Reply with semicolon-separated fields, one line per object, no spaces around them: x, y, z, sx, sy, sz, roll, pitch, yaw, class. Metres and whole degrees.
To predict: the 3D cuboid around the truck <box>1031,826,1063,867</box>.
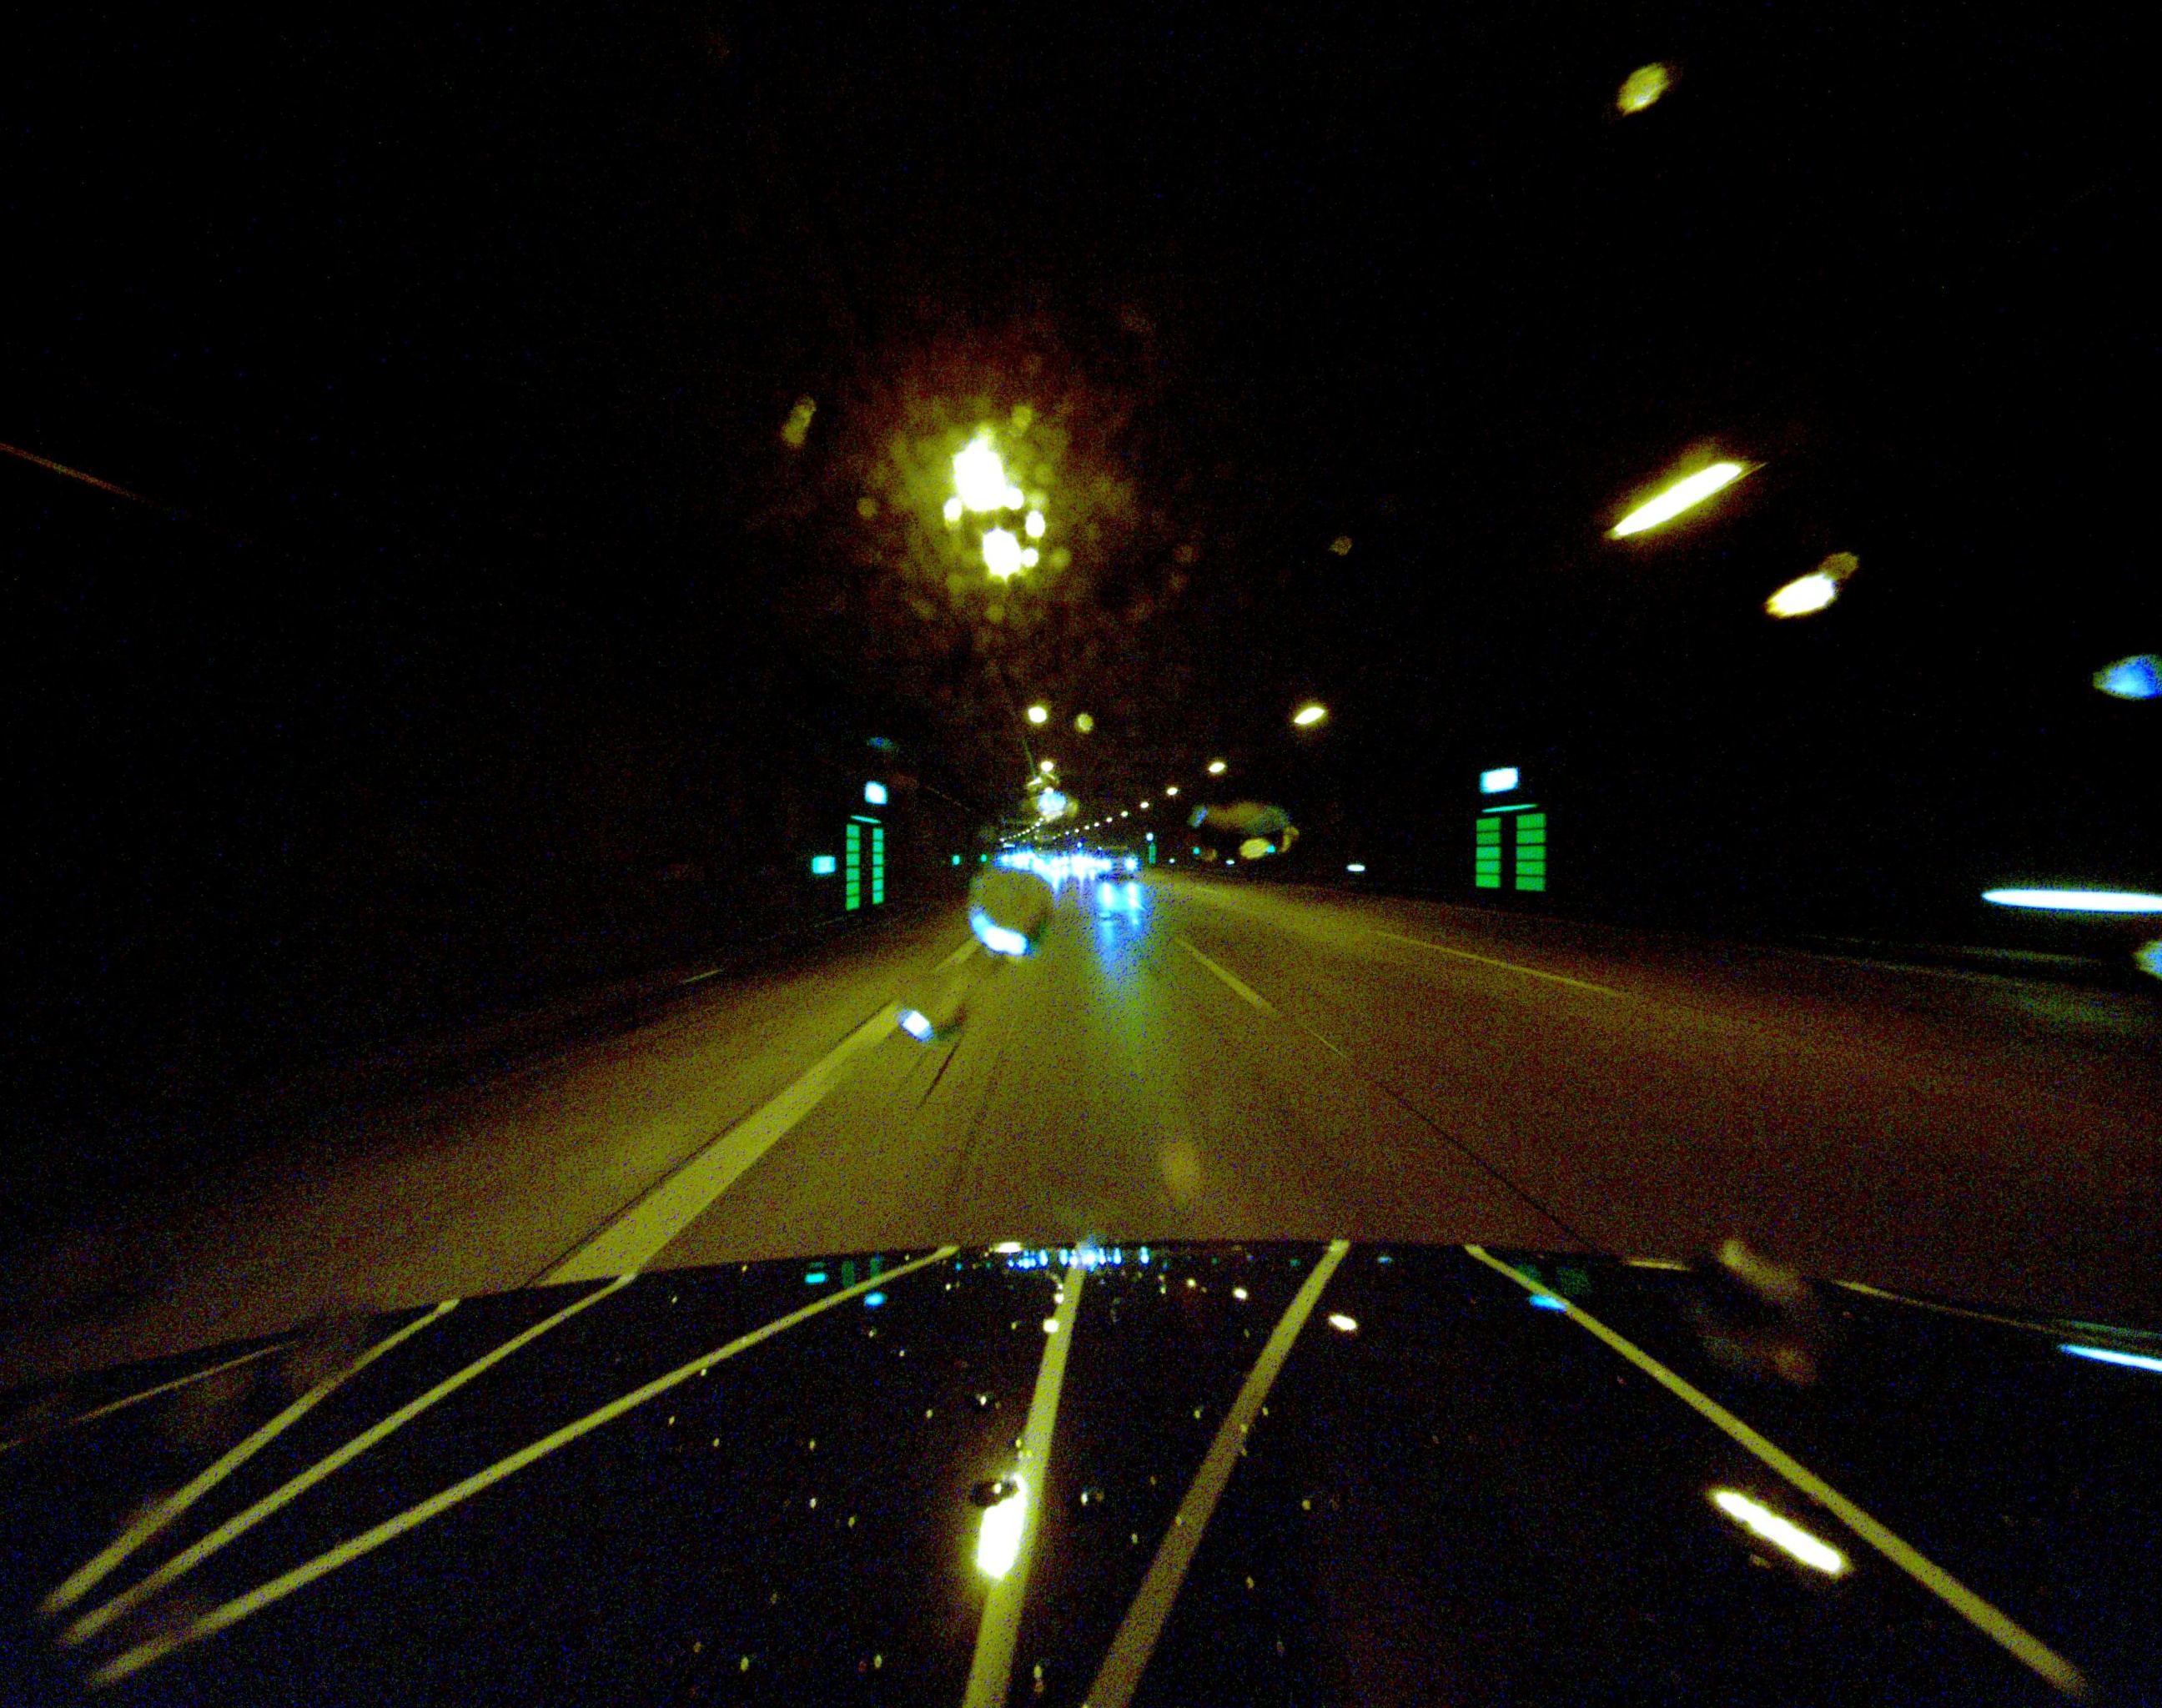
-3.643;-0.826;81.856;3.143;4.136;7.385;-2;1;-3;truck

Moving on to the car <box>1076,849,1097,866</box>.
0.555;0.335;77.214;1.910;1.637;3.999;-2;0;-3;car

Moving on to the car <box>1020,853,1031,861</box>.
-12.733;0.624;173.246;2.000;1.729;3.996;-2;0;-9;car

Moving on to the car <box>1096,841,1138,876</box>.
2.161;0.323;46.845;1.999;2.001;4.360;-2;-1;-4;car

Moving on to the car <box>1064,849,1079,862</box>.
-1.232;0.155;96.999;1.759;1.567;3.998;-2;0;-3;car
